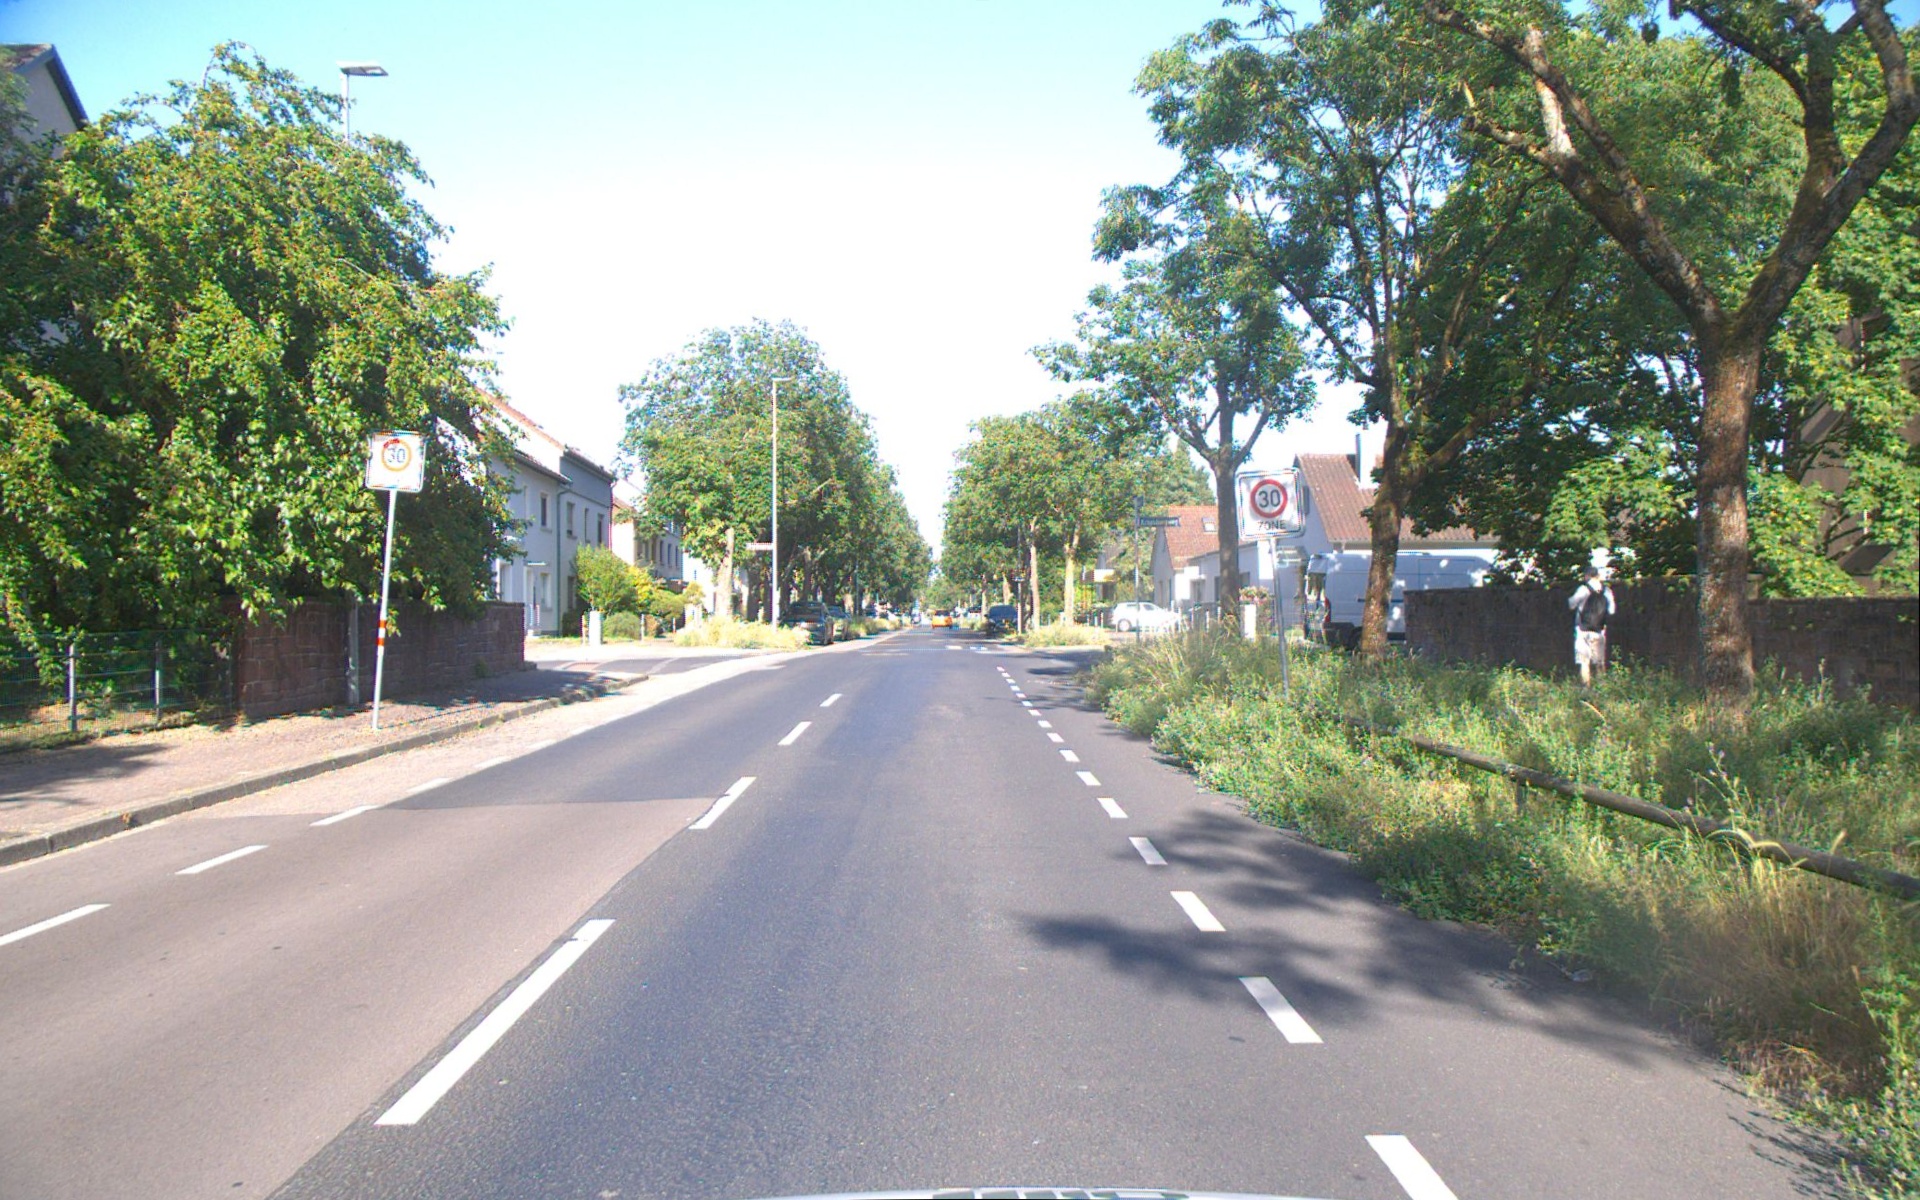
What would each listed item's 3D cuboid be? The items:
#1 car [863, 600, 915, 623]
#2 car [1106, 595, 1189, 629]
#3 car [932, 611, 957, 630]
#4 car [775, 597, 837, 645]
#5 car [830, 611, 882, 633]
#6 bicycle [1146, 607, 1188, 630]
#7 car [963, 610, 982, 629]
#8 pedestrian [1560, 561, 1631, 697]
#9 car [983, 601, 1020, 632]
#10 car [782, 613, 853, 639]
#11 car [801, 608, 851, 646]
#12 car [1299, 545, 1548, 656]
[{"bbox_3d":[-7.501,1.166,173.867,5.388,2.287,2.516,1,1,-3],"label":"car"},{"bbox_3d":[9.476,0.599,83.652,3.907,1.514,1.901,-2,1,-2],"label":"car"},{"bbox_3d":[-1.312,1.730,138.512,1.850,1.505,3.886,2,-1,-3],"label":"car"},{"bbox_3d":[-5.933,0.858,64.141,1.913,1.757,4.874,1,-2,0],"label":"car"},{"bbox_3d":[-9.181,1.909,145.652,4.458,1.796,1.998,1,1,-6],"label":"car"},{"bbox_3d":[10.082,0.907,80.593,1.918,1.016,0.576,-2,1,-3],"label":"bicycle"},{"bbox_3d":[1.241,1.941,164.843,1.864,1.805,4.300,1,-1,0],"label":"car"},{"bbox_3d":[8.391,0.372,21.853,0.624,1.735,0.612,-3,1,-2],"label":"pedestrian"},{"bbox_3d":[2.250,0.935,91.688,1.815,1.654,4.468,-2,-1,-1],"label":"car"},{"bbox_3d":[-9.274,1.686,108.152,4.462,1.537,1.841,1,1,-1],"label":"car"},{"bbox_3d":[-6.116,1.251,75.746,1.899,1.637,4.383,1,-2,0],"label":"car"},{"bbox_3d":[11.392,-0.003,40.878,5.483,2.583,2.264,-1,0,-4],"label":"car"}]
